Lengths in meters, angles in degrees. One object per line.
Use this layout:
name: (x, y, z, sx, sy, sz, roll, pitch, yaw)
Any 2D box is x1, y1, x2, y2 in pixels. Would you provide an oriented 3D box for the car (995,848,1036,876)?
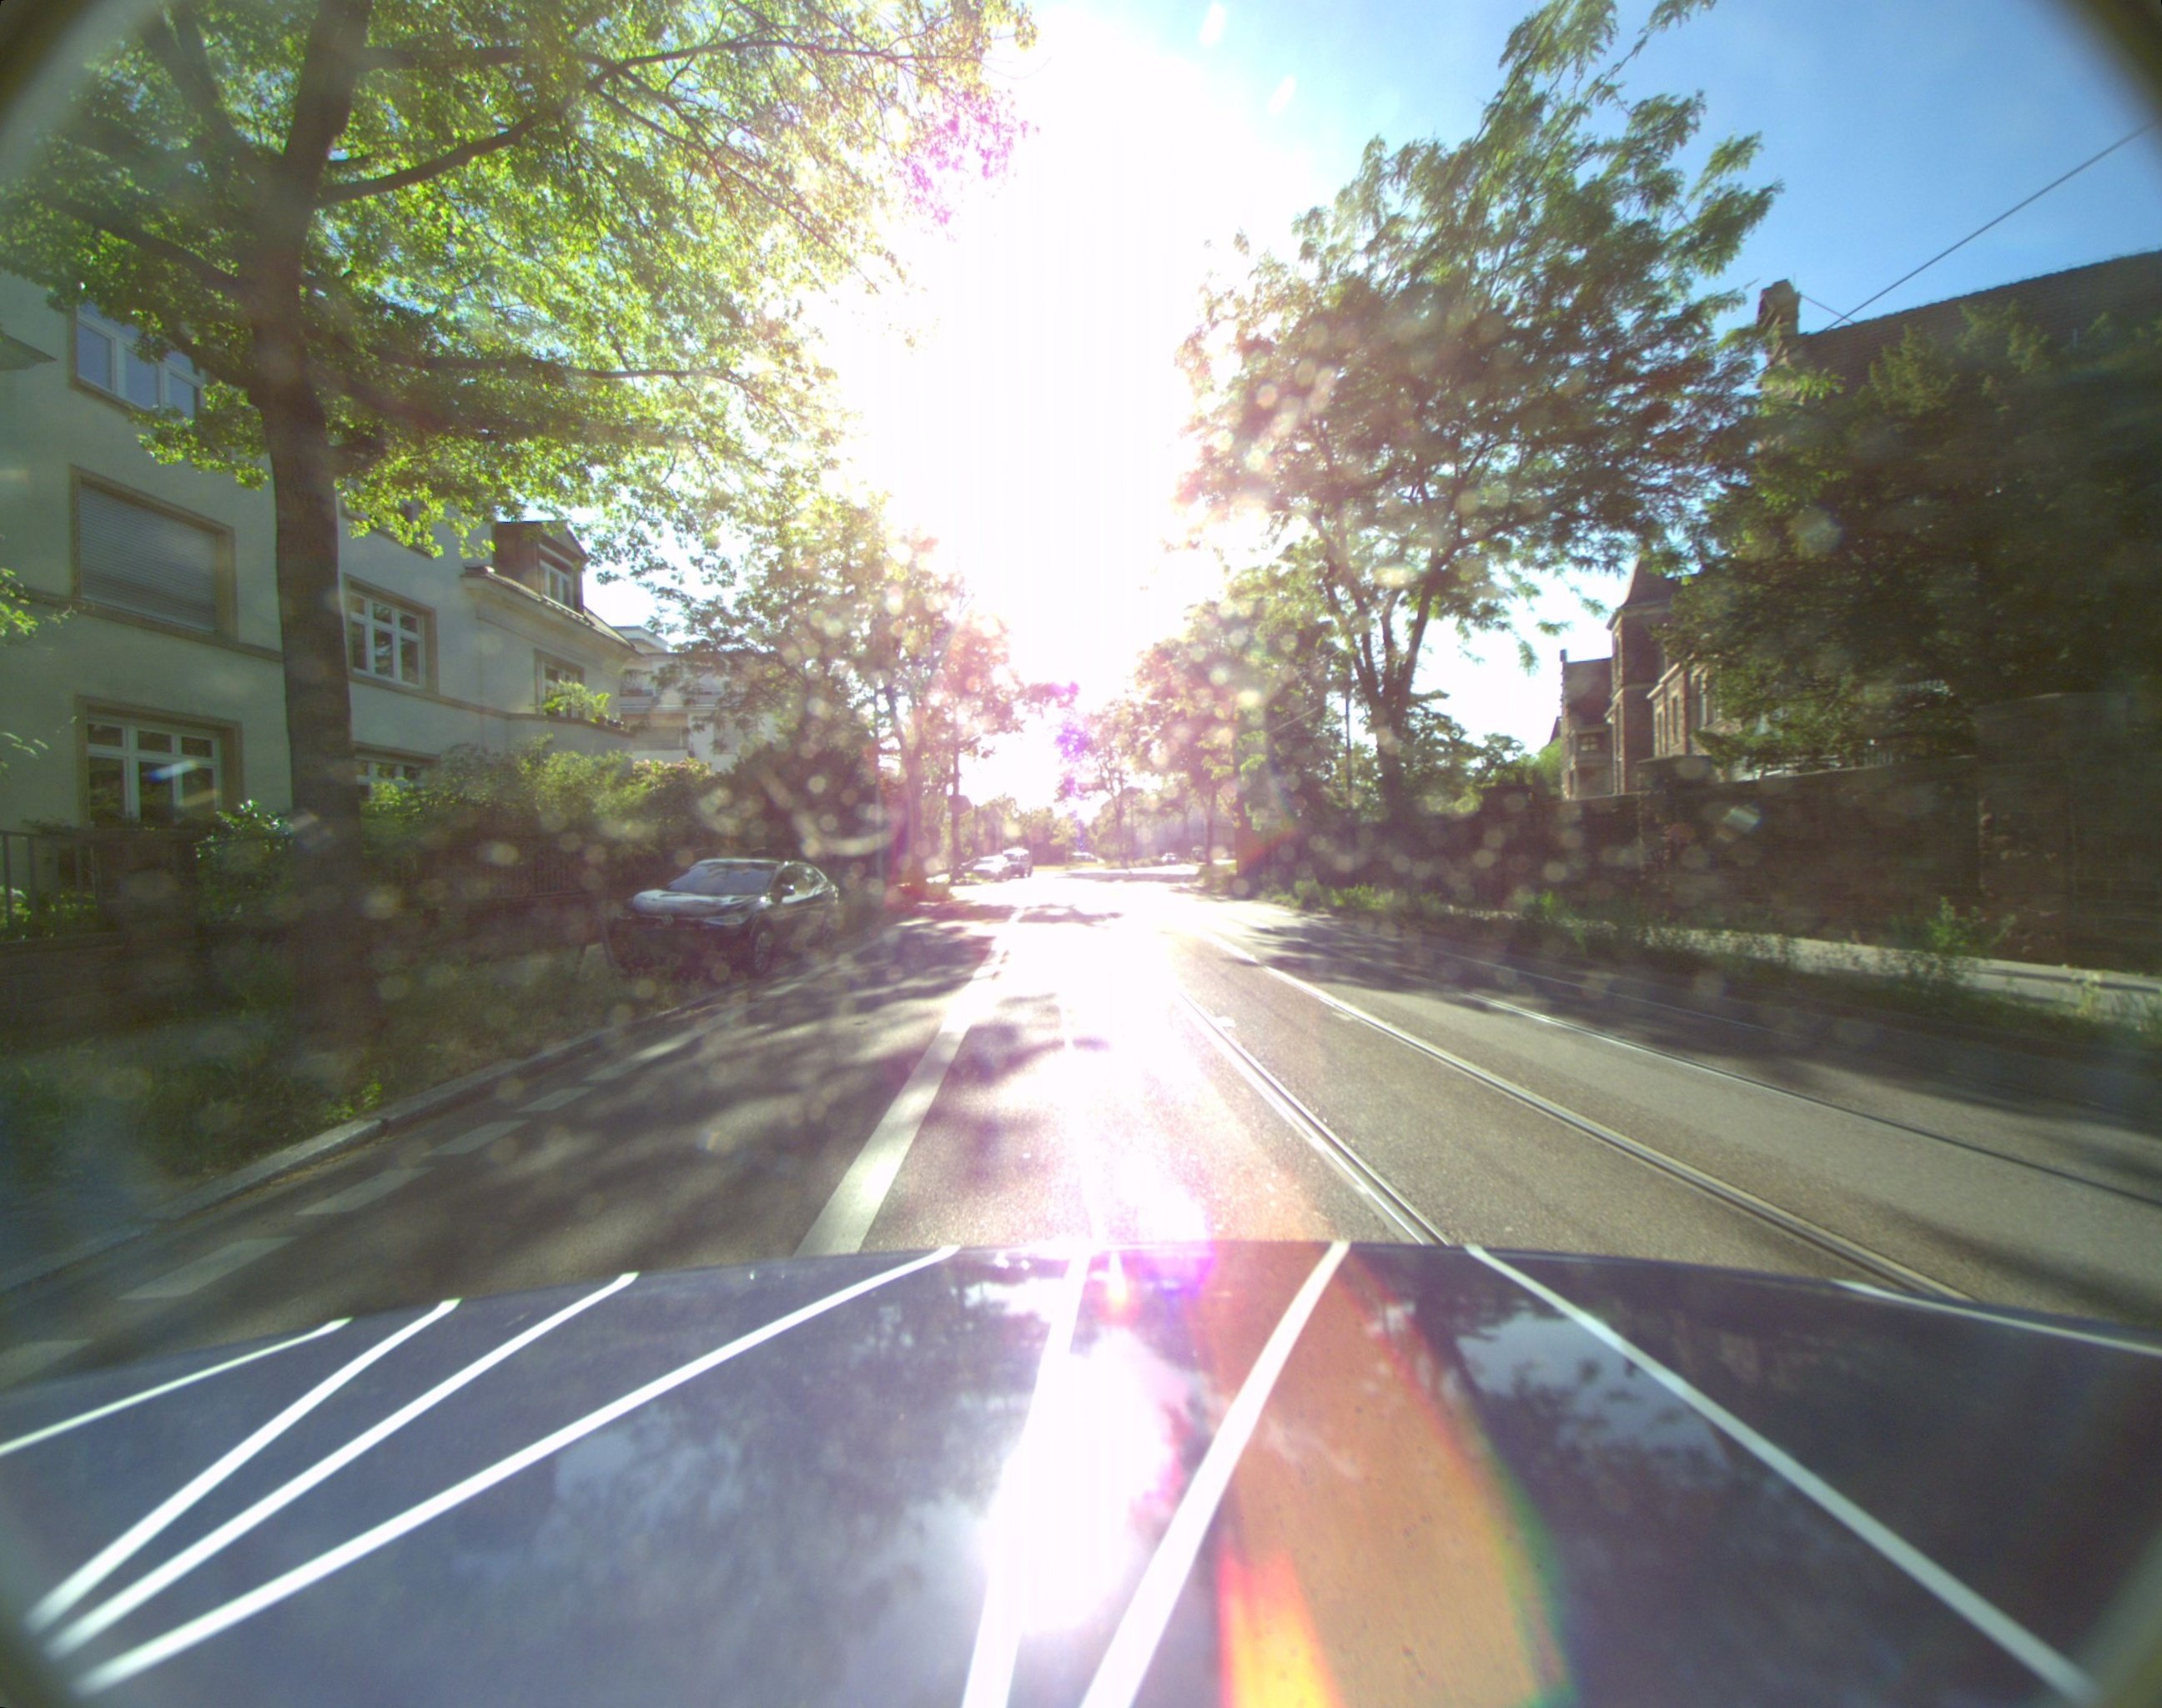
car: (-4.388, 0.509, 51.685, 1.900, 1.775, 4.670, -1, 0, 6)

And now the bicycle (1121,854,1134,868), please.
bicycle: (4.089, 0.610, 67.005, 0.588, 1.105, 1.857, -1, 0, 19)

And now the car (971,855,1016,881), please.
car: (-5.152, 0.796, 45.330, 1.901, 1.402, 4.260, -1, 0, 4)

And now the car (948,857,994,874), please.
car: (-10.025, 1.050, 69.536, 3.998, 1.433, 1.813, -2, 0, -3)

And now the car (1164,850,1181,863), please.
car: (11.936, 0.320, 98.715, 1.997, 1.539, 4.002, -2, 0, 8)

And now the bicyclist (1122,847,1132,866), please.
bicyclist: (4.035, 0.179, 66.922, 0.643, 1.632, 0.666, -2, 1, 19)

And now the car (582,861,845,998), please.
car: (-5.191, 0.948, 11.504, 1.919, 1.590, 4.258, 2, 0, -1)

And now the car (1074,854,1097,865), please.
car: (0.779, 0.925, 128.785, 3.908, 1.683, 1.905, -1, 0, -1)
